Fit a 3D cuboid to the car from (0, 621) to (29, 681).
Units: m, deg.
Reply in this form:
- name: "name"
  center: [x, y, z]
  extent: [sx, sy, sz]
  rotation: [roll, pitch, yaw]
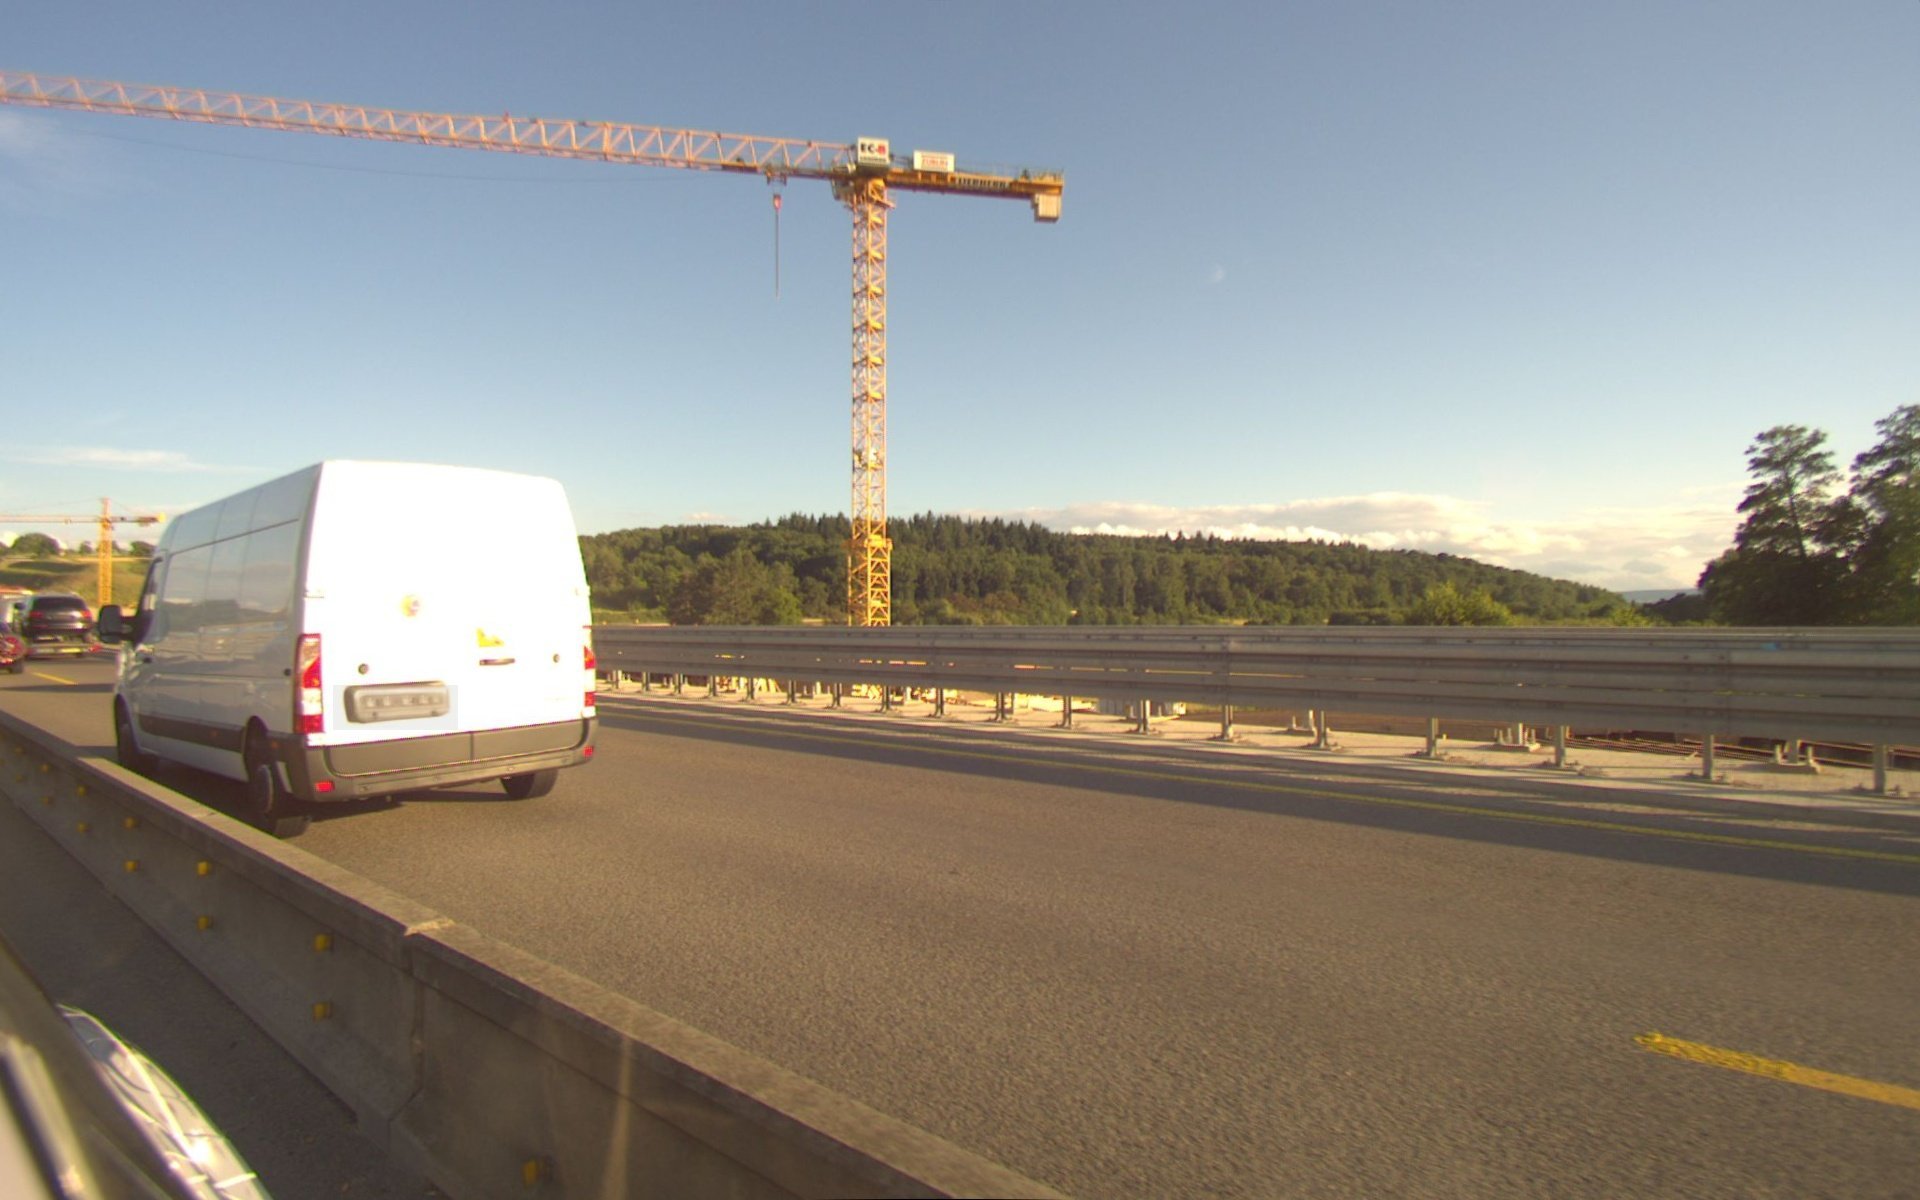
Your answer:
- name: "car"
  center: [-27.411, 1.391, 27.916]
  extent: [5.779, 1.541, 1.973]
  rotation: [-2, -1, 41]

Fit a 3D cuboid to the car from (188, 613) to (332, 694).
- name: "car"
  center: [-14.977, 1.083, 21.566]
  extent: [4.086, 1.564, 1.600]
  rotation: [-1, -1, 41]

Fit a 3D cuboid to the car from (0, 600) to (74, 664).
- name: "car"
  center: [-37.277, 1.248, 40.468]
  extent: [5.931, 2.341, 1.973]
  rotation: [-2, -1, 41]

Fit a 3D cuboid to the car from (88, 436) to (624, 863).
- name: "car"
  center: [-5.529, 0.335, 8.702]
  extent: [6.262, 2.476, 2.052]
  rotation: [-2, 0, 41]

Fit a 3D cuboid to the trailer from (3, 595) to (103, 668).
- name: "trailer"
  center: [-33.042, 1.127, 36.811]
  extent: [5.215, 2.439, 2.055]
  rotation: [-2, 0, 41]
